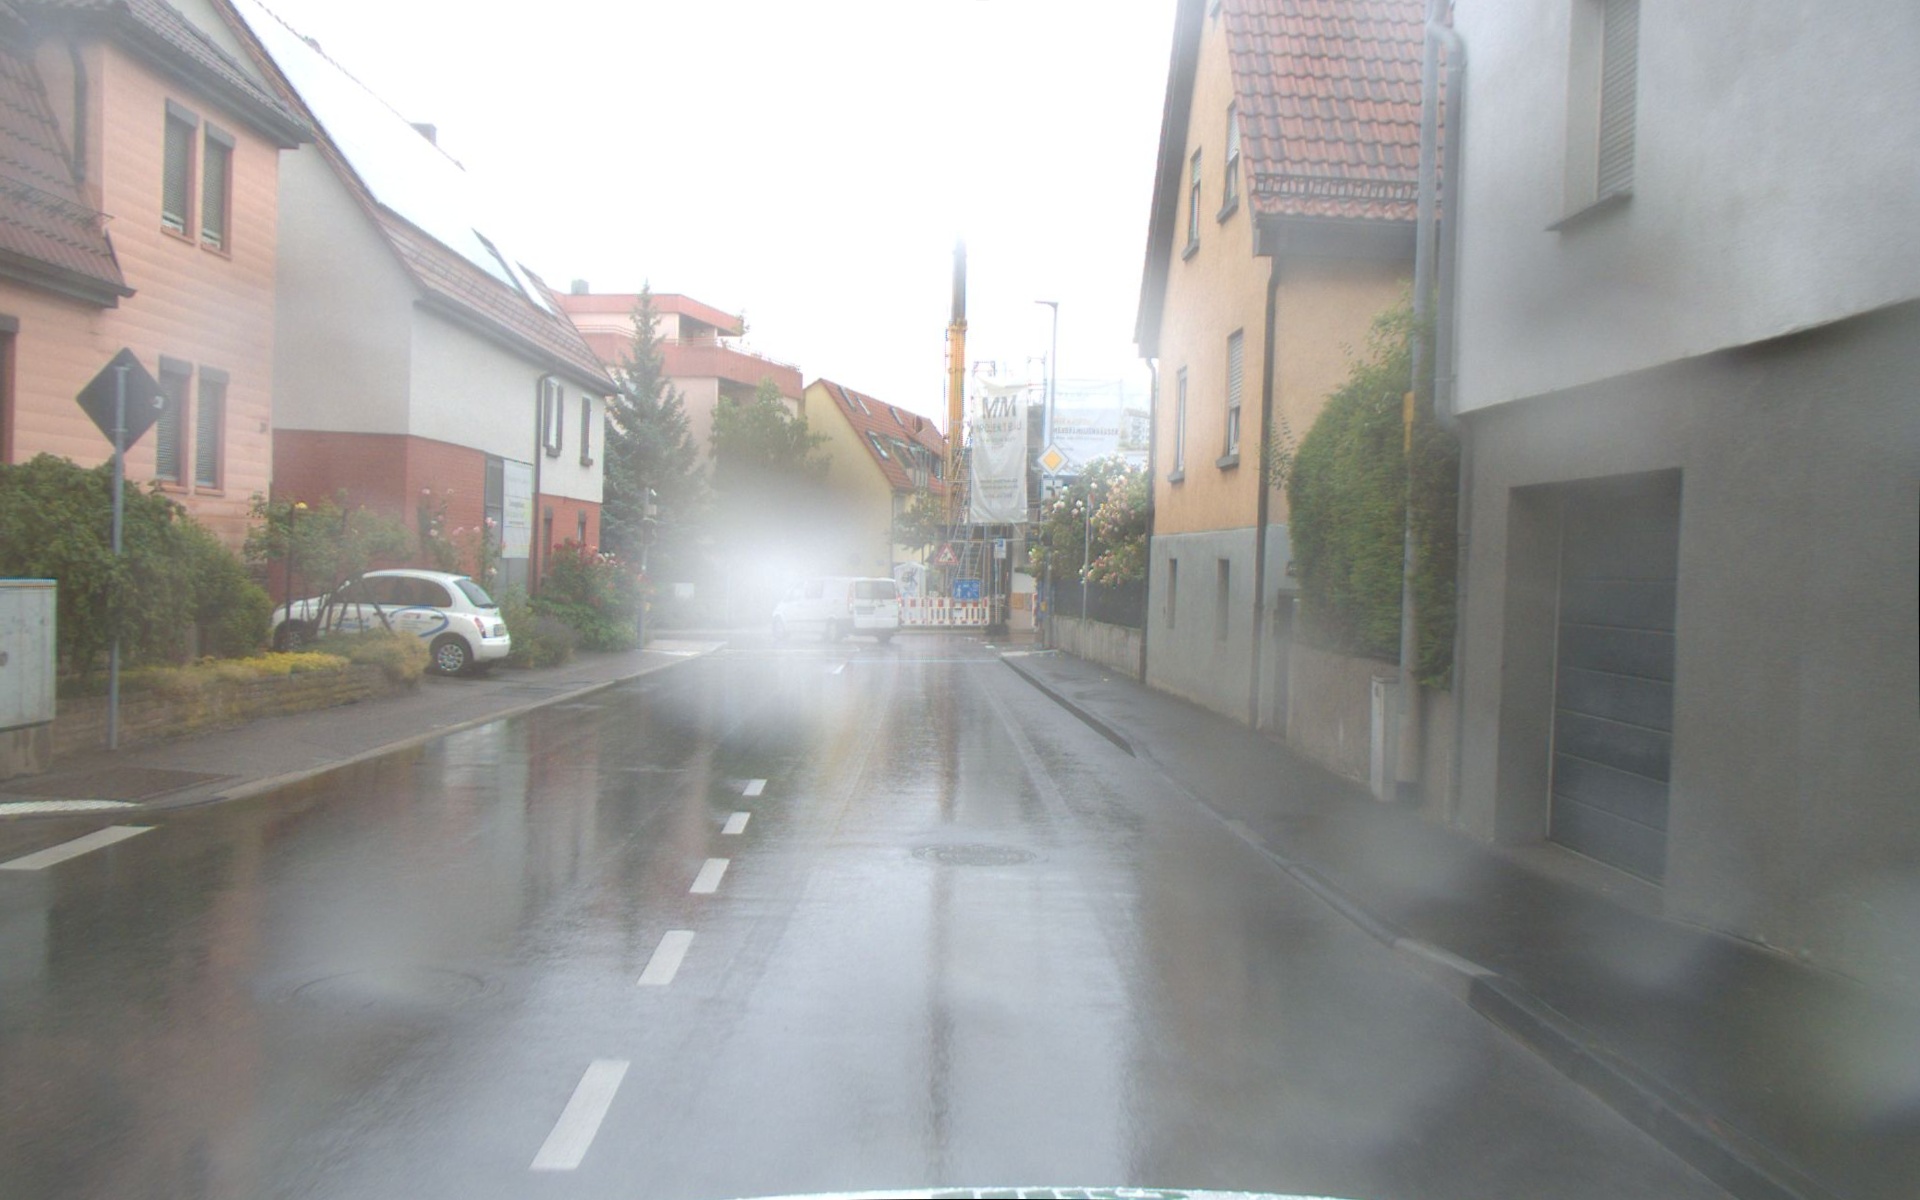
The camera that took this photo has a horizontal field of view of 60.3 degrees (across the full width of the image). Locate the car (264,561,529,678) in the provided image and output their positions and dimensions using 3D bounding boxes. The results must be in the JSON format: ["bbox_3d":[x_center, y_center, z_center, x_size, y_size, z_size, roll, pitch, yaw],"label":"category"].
[{"bbox_3d":[-8.725,0.291,25.803,3.473,1.555,1.663,3,0,-1],"label":"car"}]

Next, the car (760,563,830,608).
[{"bbox_3d":[-6.646,-0.624,67.040,1.566,1.707,3.942,2,2,13],"label":"car"}]

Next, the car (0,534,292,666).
[{"bbox_3d":[-12.895,-0.010,26.090,3.907,1.794,1.757,3,0,-3],"label":"car"}]

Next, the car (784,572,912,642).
[{"bbox_3d":[-3.292,0.200,47.934,2.159,1.902,3.959,1,-1,-31],"label":"car"}]
